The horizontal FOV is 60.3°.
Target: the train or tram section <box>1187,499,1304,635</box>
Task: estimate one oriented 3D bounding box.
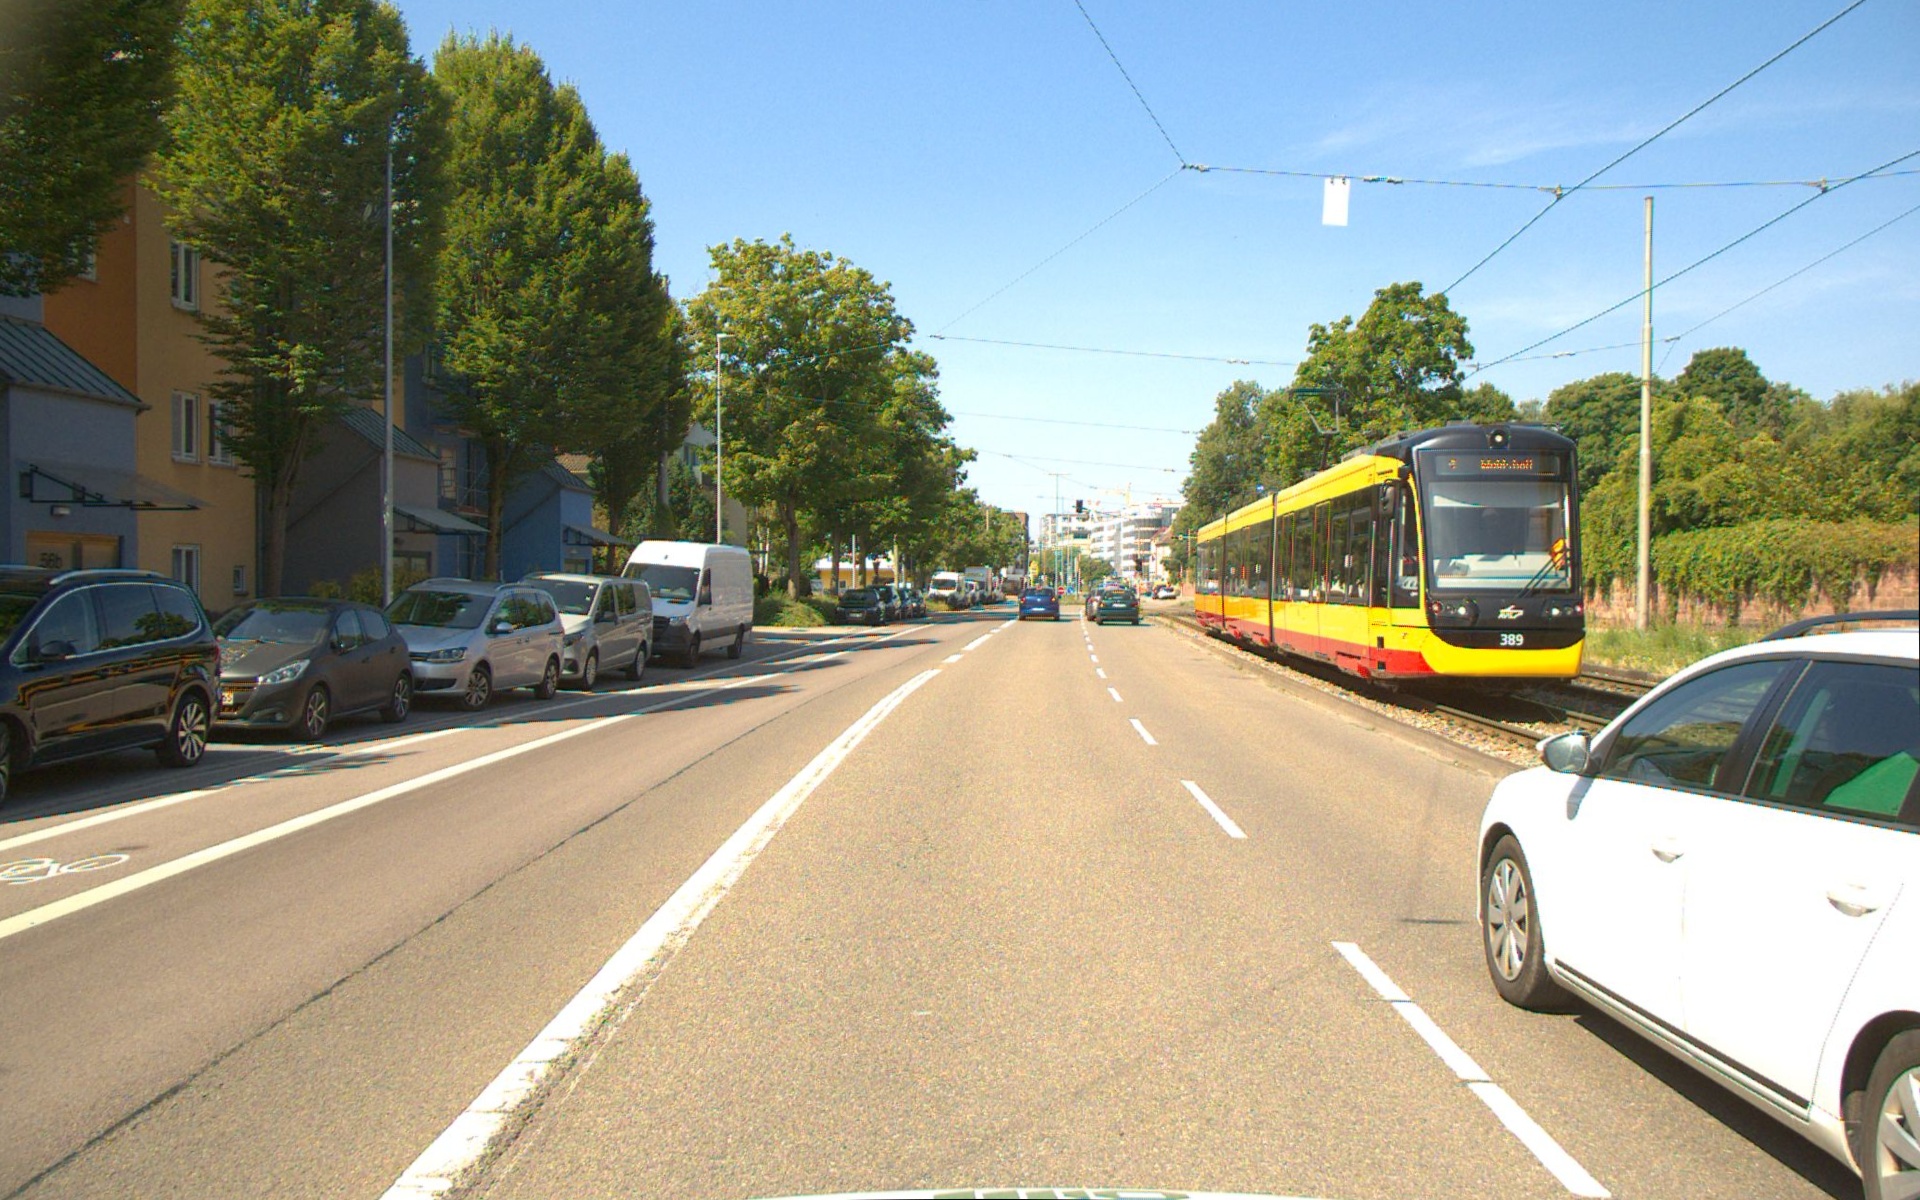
[{"bbox_3d":[8.908,-0.993,52.940,2.458,3.812,13.318,0,1,4],"label":"train or tram section"}]

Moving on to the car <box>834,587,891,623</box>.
[{"bbox_3d":[-4.008,0.179,68.540,1.663,1.441,4.003,0,1,7],"label":"car"}]

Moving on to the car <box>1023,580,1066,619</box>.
[{"bbox_3d":[3.647,-0.055,71.269,1.763,1.533,4.002,1,2,3],"label":"car"}]

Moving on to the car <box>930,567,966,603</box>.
[{"bbox_3d":[-0.829,-1.019,115.604,1.840,2.458,5.120,0,1,7],"label":"car"}]

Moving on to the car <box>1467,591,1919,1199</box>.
[{"bbox_3d":[2.913,0.736,4.451,1.657,1.476,4.458,0,1,-1],"label":"car"}]

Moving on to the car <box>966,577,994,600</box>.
[{"bbox_3d":[1.705,-0.936,136.522,1.787,1.899,4.728,0,1,7],"label":"car"}]

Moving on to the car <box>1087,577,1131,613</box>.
[{"bbox_3d":[6.558,-0.229,73.075,1.763,1.485,4.002,1,1,3],"label":"car"}]

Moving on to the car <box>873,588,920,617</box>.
[{"bbox_3d":[-3.089,0.095,81.413,1.663,1.375,4.003,0,1,7],"label":"car"}]

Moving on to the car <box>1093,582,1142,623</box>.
[{"bbox_3d":[6.237,0.075,65.783,1.763,1.533,4.002,1,1,3],"label":"car"}]

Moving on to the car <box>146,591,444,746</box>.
[{"bbox_3d":[-7.502,0.696,19.102,1.655,1.500,4.049,3,1,1],"label":"car"}]

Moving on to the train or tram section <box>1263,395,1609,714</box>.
[{"bbox_3d":[6.929,-0.623,26.492,2.459,3.812,13.317,0,1,3],"label":"train or tram section"}]

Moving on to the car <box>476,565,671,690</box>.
[{"bbox_3d":[-6.846,0.433,29.974,1.879,1.982,5.357,3,1,4],"label":"car"}]

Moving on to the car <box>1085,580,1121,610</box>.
[{"bbox_3d":[7.467,-0.283,86.566,1.763,1.485,4.002,0,1,3],"label":"car"}]

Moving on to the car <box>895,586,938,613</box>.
[{"bbox_3d":[-2.267,-0.034,86.674,1.663,1.375,4.003,0,1,7],"label":"car"}]

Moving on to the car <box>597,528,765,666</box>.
[{"bbox_3d":[-6.216,-0.088,37.904,1.953,2.761,7.161,3,1,5],"label":"car"}]

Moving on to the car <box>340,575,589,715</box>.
[{"bbox_3d":[-7.097,0.566,24.271,1.763,1.754,4.912,3,1,4],"label":"car"}]

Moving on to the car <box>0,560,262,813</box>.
[{"bbox_3d":[-7.640,0.569,13.618,1.733,1.753,4.869,2,1,-1],"label":"car"}]

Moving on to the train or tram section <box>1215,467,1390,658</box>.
[{"bbox_3d":[7.862,-0.823,39.705,2.458,3.812,13.319,0,1,4],"label":"train or tram section"}]
